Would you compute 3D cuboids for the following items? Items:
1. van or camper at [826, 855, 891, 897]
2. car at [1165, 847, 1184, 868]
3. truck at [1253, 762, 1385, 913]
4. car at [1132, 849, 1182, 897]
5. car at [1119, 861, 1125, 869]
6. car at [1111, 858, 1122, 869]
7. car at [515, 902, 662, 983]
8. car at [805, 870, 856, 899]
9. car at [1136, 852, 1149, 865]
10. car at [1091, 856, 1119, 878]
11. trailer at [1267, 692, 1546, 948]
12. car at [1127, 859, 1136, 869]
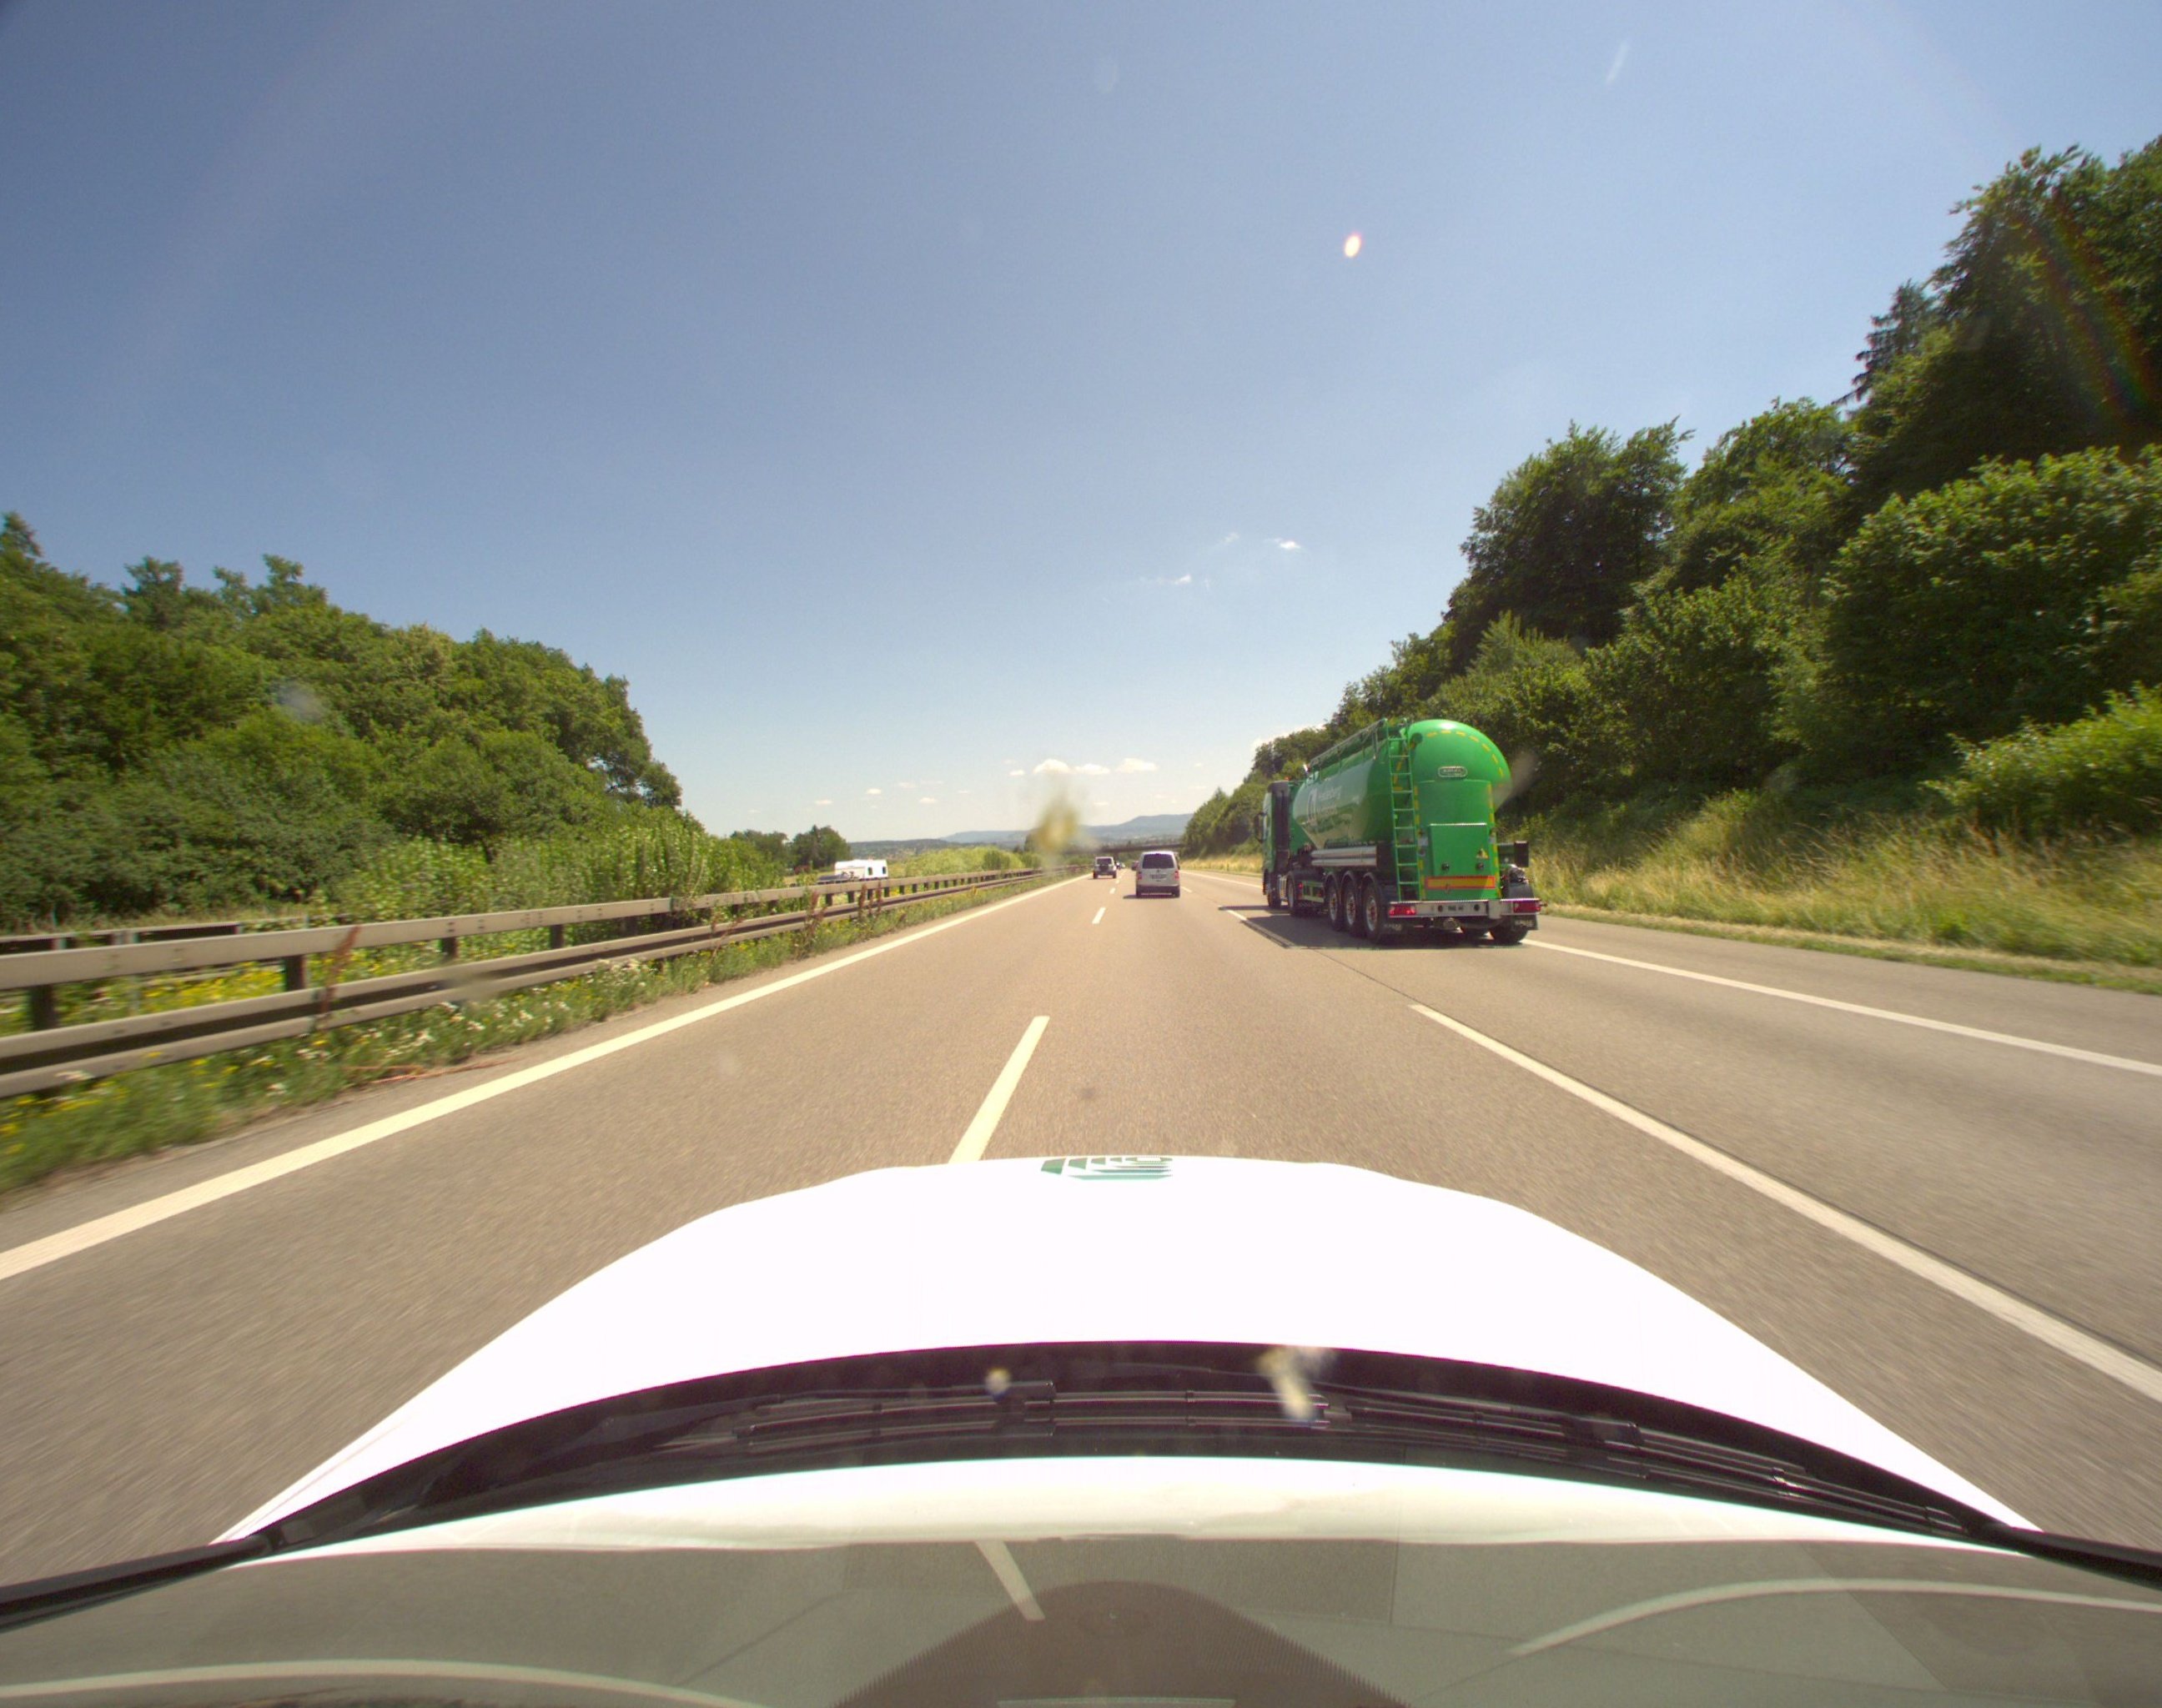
[{"bbox_3d":[-16.398,1.531,60.529,2.312,2.866,7.697,-1,0,2],"label":"van or camper"},{"bbox_3d":[12.046,0.471,105.282,2.080,2.576,6.629,-1,0,4],"label":"car"},{"bbox_3d":[6.657,-0.430,23.476,2.500,3.842,4.895,-1,0,2],"label":"truck"},{"bbox_3d":[3.096,0.724,33.881,1.739,1.829,4.802,-1,0,2],"label":"car"},{"bbox_3d":[11.212,2.964,221.874,1.690,2.013,3.826,-1,0,4],"label":"car"},{"bbox_3d":[6.714,1.838,154.953,1.985,2.013,4.004,-1,0,3],"label":"car"},{"bbox_3d":[-14.872,2.608,24.885,1.894,2.013,4.002,-1,0,2],"label":"car"},{"bbox_3d":[-16.650,1.999,54.434,1.788,1.772,4.646,-1,0,2],"label":"car"},{"bbox_3d":[9.553,0.692,126.504,1.985,2.013,4.004,-1,0,3],"label":"car"},{"bbox_3d":[2.078,1.072,70.133,2.074,1.829,4.760,-1,0,5],"label":"car"},{"bbox_3d":[6.367,-0.533,18.205,2.576,4.028,10.480,-1,0,3],"label":"trailer"},{"bbox_3d":[10.964,2.094,176.798,1.985,2.013,4.004,-1,0,3],"label":"car"}]
